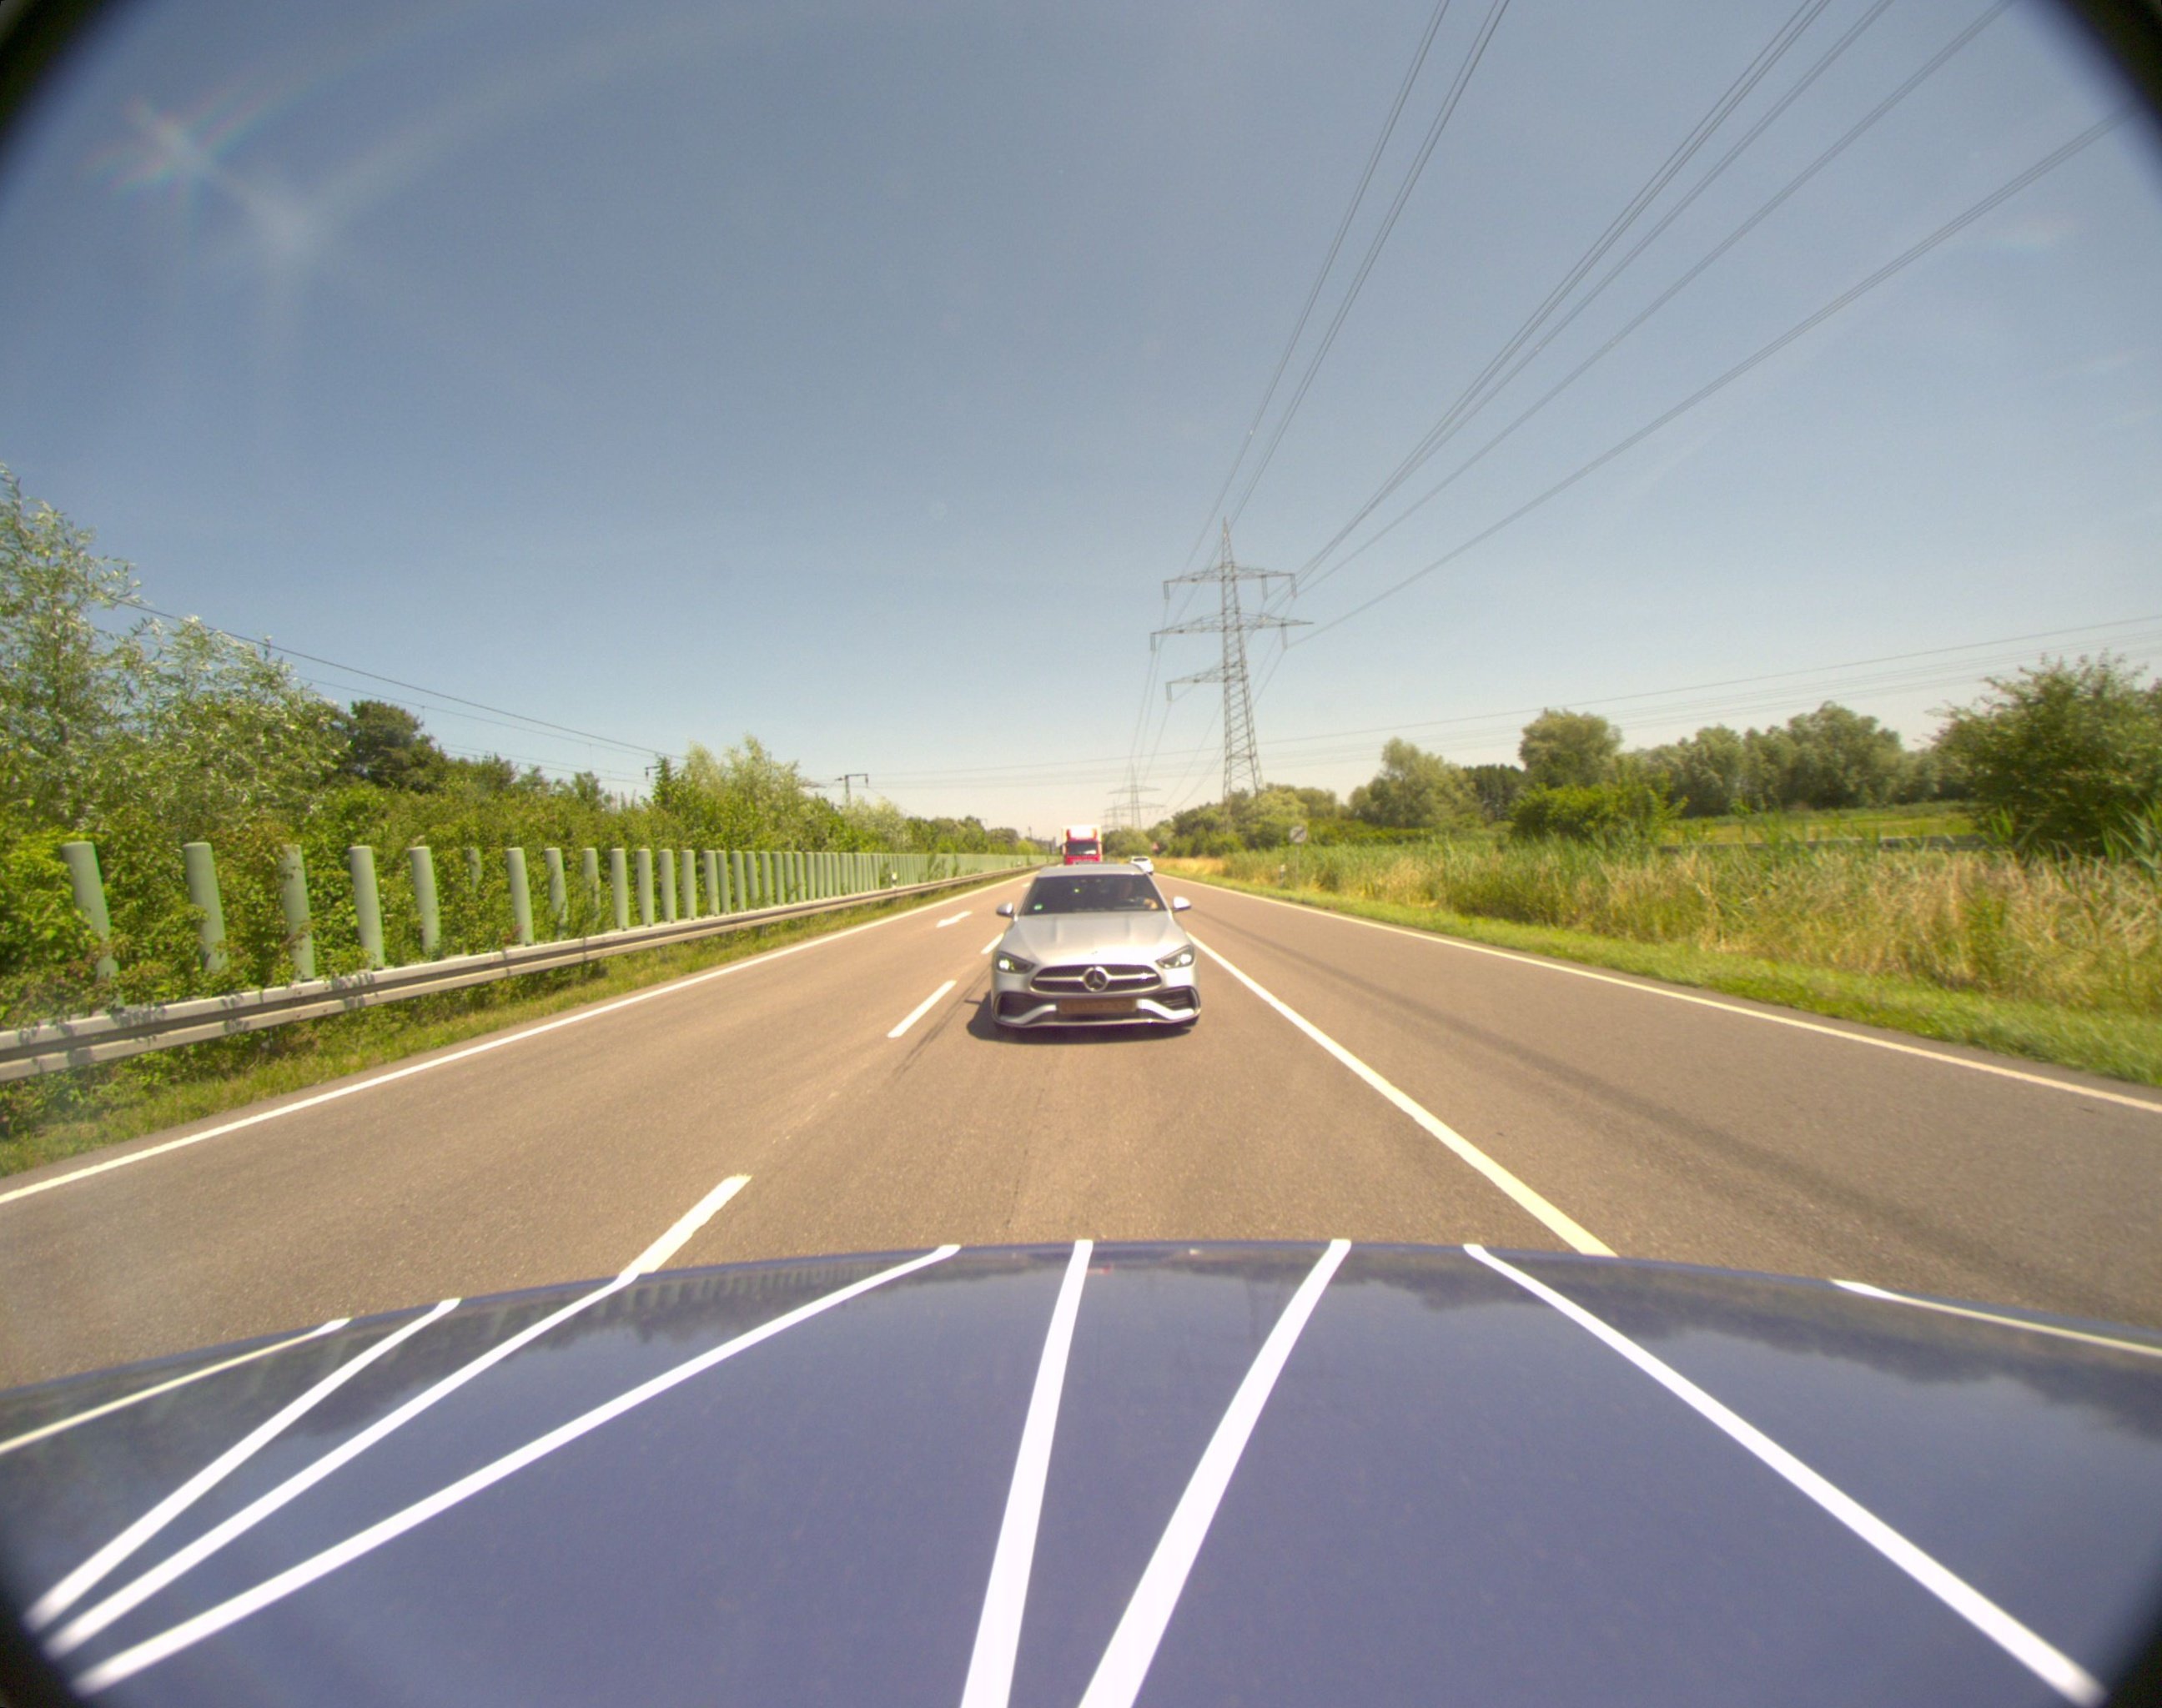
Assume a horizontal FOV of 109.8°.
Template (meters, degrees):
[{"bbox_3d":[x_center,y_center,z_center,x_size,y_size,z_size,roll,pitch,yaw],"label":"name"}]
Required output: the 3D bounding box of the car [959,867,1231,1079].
[{"bbox_3d":[0.141,0.930,7.935,1.998,1.437,4.467,-2,0,1],"label":"car"}]

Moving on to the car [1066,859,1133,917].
[{"bbox_3d":[0.541,0.903,21.922,1.698,1.385,4.467,-2,0,2],"label":"car"}]

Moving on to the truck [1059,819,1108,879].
[{"bbox_3d":[0.251,-0.309,52.085,2.907,3.641,7.156,-4,0,2],"label":"truck"}]

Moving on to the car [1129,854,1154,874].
[{"bbox_3d":[4.662,0.740,58.661,1.729,1.432,4.250,-3,0,3],"label":"car"}]
